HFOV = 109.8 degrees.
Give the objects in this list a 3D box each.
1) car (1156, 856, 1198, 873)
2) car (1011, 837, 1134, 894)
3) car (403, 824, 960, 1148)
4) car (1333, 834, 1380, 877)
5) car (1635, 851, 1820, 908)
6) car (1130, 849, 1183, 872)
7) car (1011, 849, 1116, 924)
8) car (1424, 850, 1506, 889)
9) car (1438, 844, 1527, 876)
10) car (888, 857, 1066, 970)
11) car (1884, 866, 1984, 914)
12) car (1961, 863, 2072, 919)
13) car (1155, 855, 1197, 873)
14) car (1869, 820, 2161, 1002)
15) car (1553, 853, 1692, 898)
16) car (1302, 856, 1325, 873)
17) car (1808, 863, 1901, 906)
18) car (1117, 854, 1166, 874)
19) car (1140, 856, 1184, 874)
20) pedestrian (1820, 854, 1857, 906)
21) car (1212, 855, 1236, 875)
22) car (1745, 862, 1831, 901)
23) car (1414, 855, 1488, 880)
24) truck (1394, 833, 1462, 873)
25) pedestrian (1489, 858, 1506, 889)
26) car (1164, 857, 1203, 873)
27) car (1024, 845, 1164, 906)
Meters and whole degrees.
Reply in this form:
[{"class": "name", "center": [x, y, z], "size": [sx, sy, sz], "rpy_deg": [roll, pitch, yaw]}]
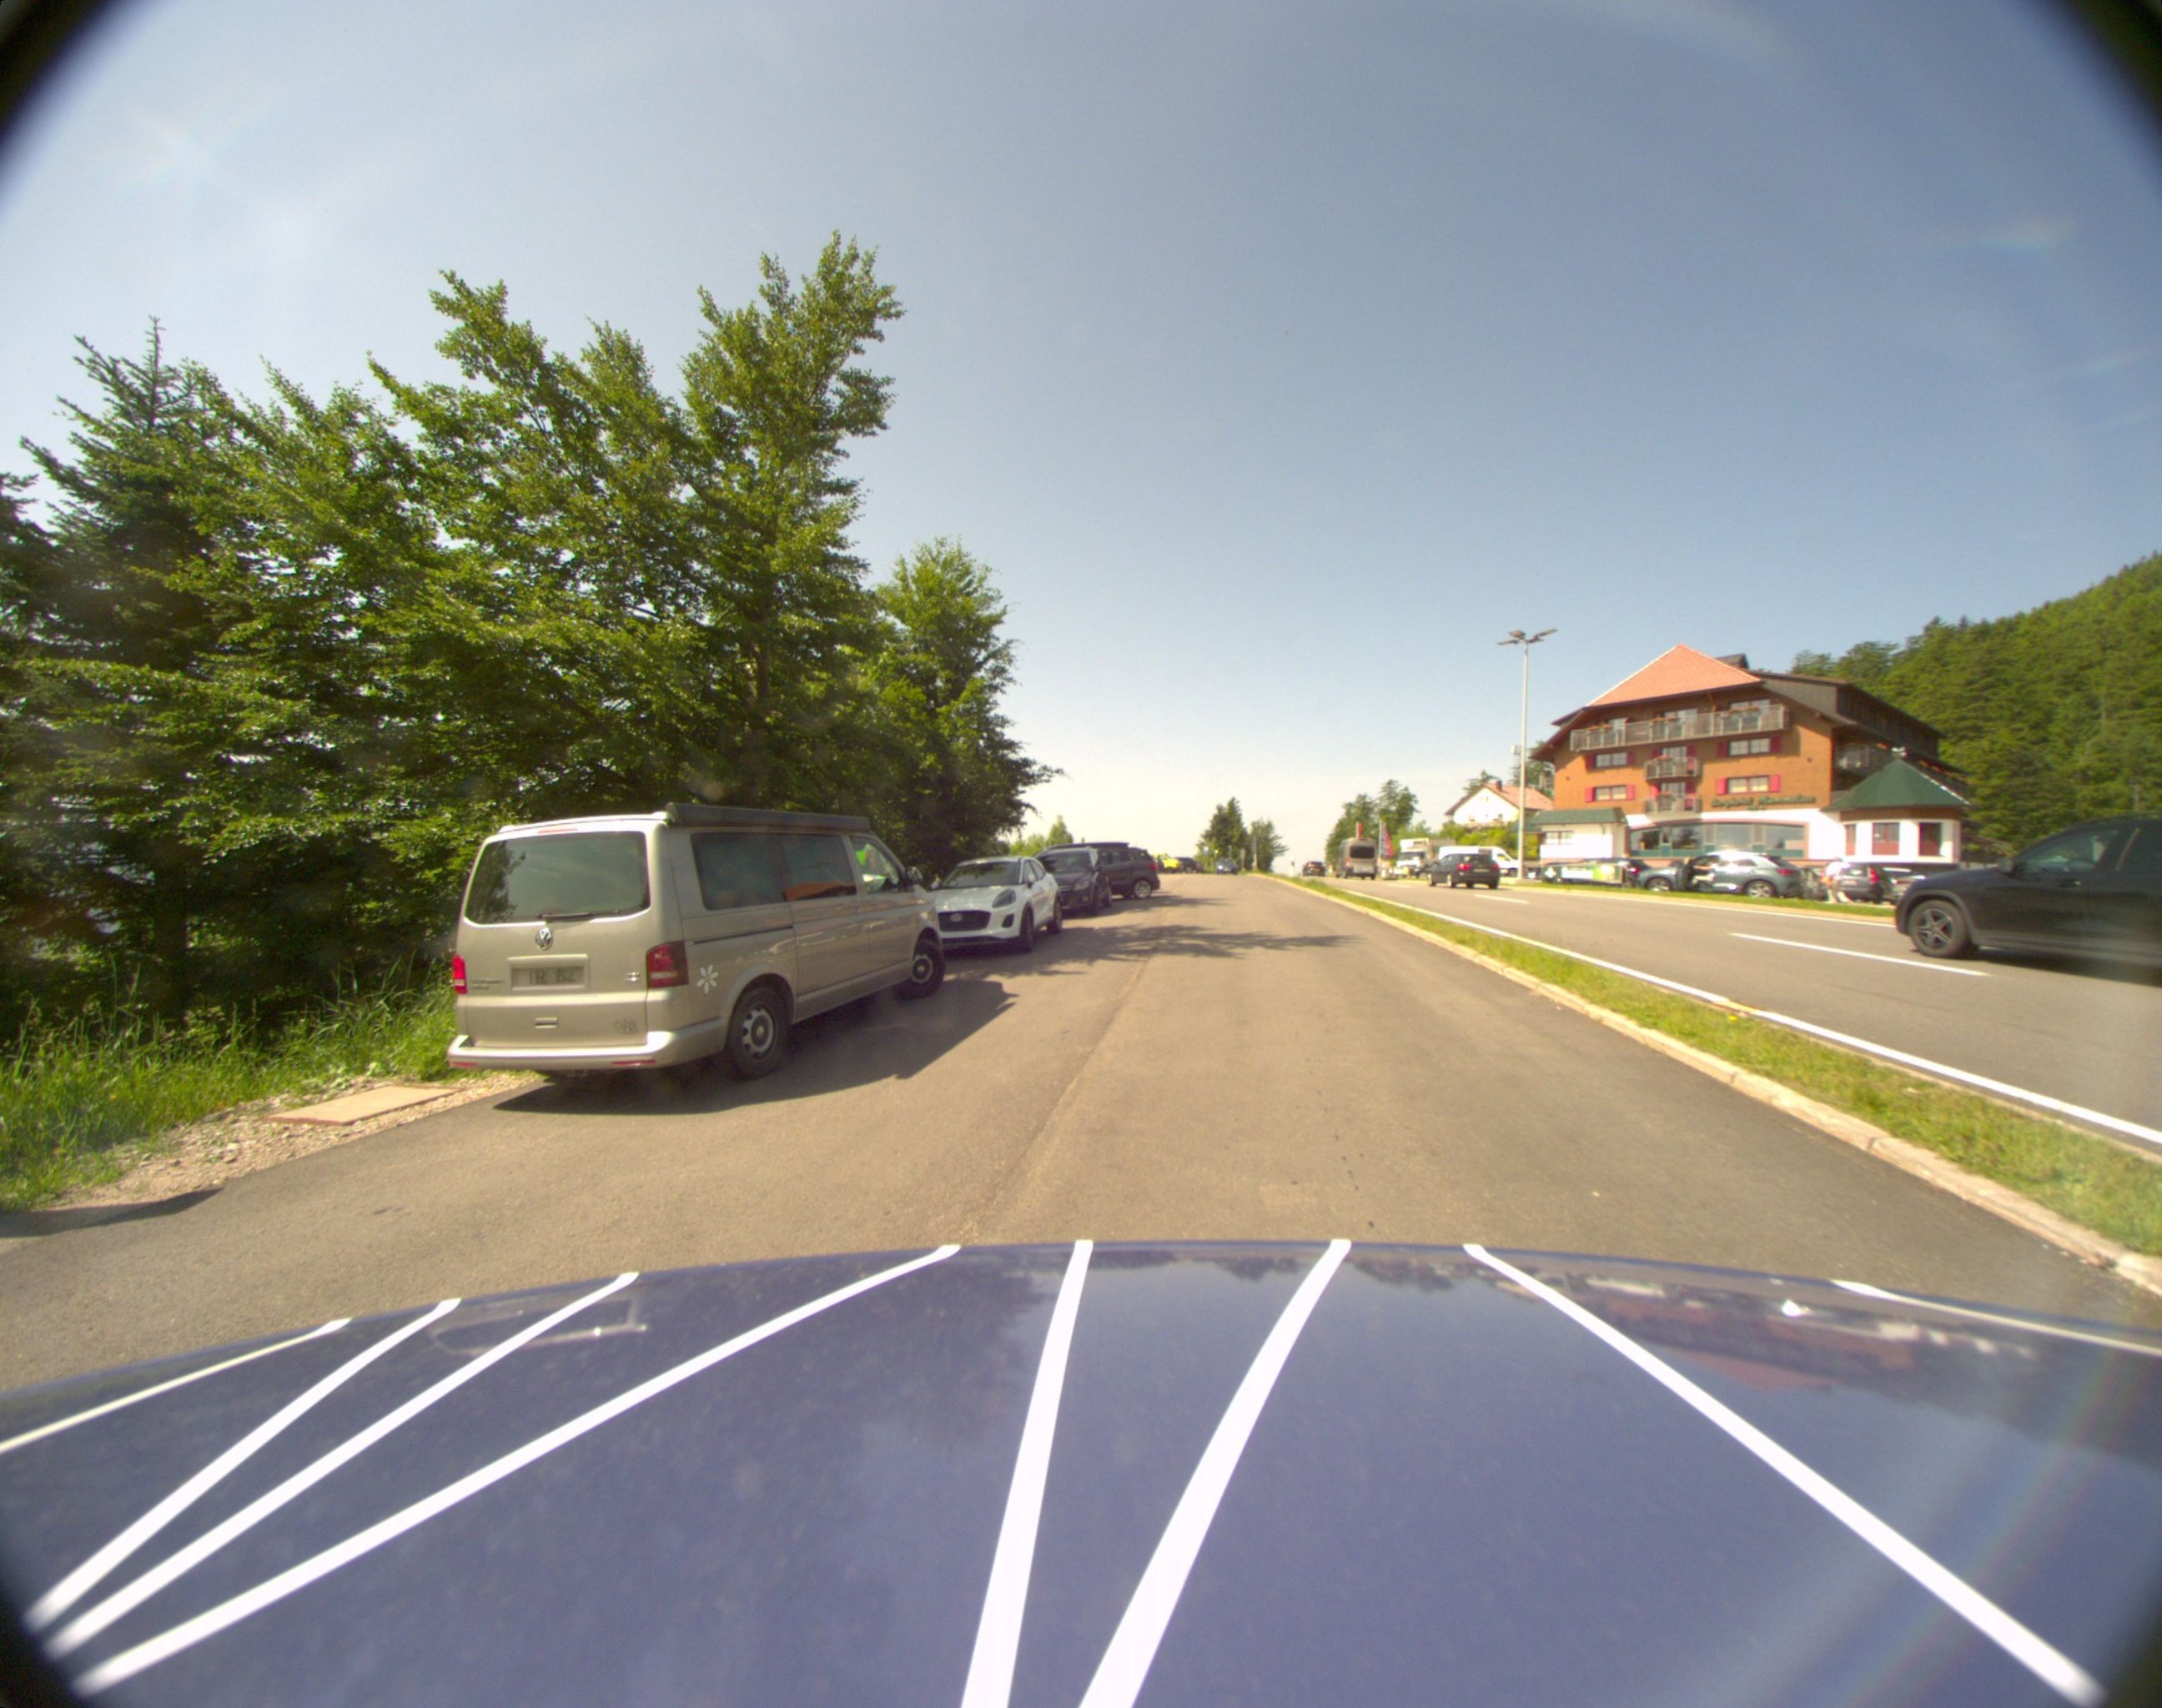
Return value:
[{"class": "car", "center": [9.535, 1.006, 75.220], "size": [3.906, 1.605, 1.878], "rpy_deg": [1, 1, 12]}, {"class": "car", "center": [-0.374, 0.429, 29.773], "size": [4.460, 1.914, 1.875], "rpy_deg": [-3, 0, -10]}, {"class": "car", "center": [-2.902, 0.819, 6.951], "size": [1.860, 1.924, 4.613], "rpy_deg": [-3, 0, 13]}, {"class": "car", "center": [18.787, 0.075, 52.084], "size": [2.014, 2.735, 5.921], "rpy_deg": [1, 1, 10]}, {"class": "car", "center": [20.866, 0.744, 24.686], "size": [1.828, 1.619, 4.259], "rpy_deg": [0, 1, -38]}, {"class": "car", "center": [6.681, 0.548, 66.910], "size": [4.452, 1.914, 1.878], "rpy_deg": [1, 1, 12]}, {"class": "car", "center": [-0.318, 0.727, 19.172], "size": [1.874, 1.609, 4.002], "rpy_deg": [-3, 0, 9]}, {"class": "car", "center": [15.359, 0.567, 30.624], "size": [1.709, 1.429, 4.453], "rpy_deg": [1, 1, 10]}, {"class": "car", "center": [36.178, 0.469, 68.681], "size": [6.946, 2.774, 2.672], "rpy_deg": [1, 1, 28]}, {"class": "car", "center": [-1.576, 0.892, 13.088], "size": [1.874, 1.538, 4.002], "rpy_deg": [-3, 0, 9]}, {"class": "car", "center": [29.952, 1.206, 26.663], "size": [4.102, 1.504, 1.819], "rpy_deg": [0, 1, -35]}, {"class": "car", "center": [28.831, 1.071, 23.398], "size": [4.102, 1.504, 1.819], "rpy_deg": [0, 1, -35]}, {"class": "car", "center": [9.098, 0.921, 72.643], "size": [3.906, 1.605, 1.878], "rpy_deg": [1, 1, 12]}, {"class": "car", "center": [10.843, 0.512, 7.458], "size": [1.997, 1.638, 4.570], "rpy_deg": [0, 1, 10]}, {"class": "car", "center": [22.053, 0.823, 31.088], "size": [1.828, 1.619, 4.259], "rpy_deg": [0, 1, -38]}, {"class": "car", "center": [23.746, 1.036, 77.795], "size": [1.719, 1.672, 4.133], "rpy_deg": [0, 1, 10]}, {"class": "car", "center": [30.022, 1.126, 29.474], "size": [4.102, 1.504, 1.819], "rpy_deg": [0, 1, -35]}, {"class": "car", "center": [5.163, 0.793, 64.419], "size": [3.906, 1.605, 1.878], "rpy_deg": [1, 1, 12]}, {"class": "car", "center": [7.474, 1.014, 70.046], "size": [3.906, 1.605, 1.878], "rpy_deg": [1, 1, 12]}, {"class": "pedestrian", "center": [24.082, 0.820, 24.179], "size": [0.744, 1.615, 0.685], "rpy_deg": [1, 1, 39]}, {"class": "car", "center": [12.230, 0.907, 65.151], "size": [1.873, 1.605, 3.916], "rpy_deg": [1, 1, 10]}, {"class": "car", "center": [30.083, 1.111, 32.306], "size": [4.102, 1.504, 1.819], "rpy_deg": [0, 1, -35]}, {"class": "car", "center": [24.967, 0.865, 51.322], "size": [1.828, 1.518, 4.082], "rpy_deg": [0, 1, -41]}, {"class": "truck", "center": [34.837, -0.054, 76.106], "size": [9.036, 3.798, 2.876], "rpy_deg": [0, -1, -43]}, {"class": "pedestrian", "center": [26.919, 1.240, 49.080], "size": [0.716, 2.002, 0.803], "rpy_deg": [0, 1, 8]}, {"class": "car", "center": [10.663, 1.099, 79.139], "size": [3.906, 1.605, 1.878], "rpy_deg": [1, 1, 12]}, {"class": "car", "center": [0.340, 0.639, 23.574], "size": [4.000, 1.609, 1.875], "rpy_deg": [-3, 0, -10]}]
